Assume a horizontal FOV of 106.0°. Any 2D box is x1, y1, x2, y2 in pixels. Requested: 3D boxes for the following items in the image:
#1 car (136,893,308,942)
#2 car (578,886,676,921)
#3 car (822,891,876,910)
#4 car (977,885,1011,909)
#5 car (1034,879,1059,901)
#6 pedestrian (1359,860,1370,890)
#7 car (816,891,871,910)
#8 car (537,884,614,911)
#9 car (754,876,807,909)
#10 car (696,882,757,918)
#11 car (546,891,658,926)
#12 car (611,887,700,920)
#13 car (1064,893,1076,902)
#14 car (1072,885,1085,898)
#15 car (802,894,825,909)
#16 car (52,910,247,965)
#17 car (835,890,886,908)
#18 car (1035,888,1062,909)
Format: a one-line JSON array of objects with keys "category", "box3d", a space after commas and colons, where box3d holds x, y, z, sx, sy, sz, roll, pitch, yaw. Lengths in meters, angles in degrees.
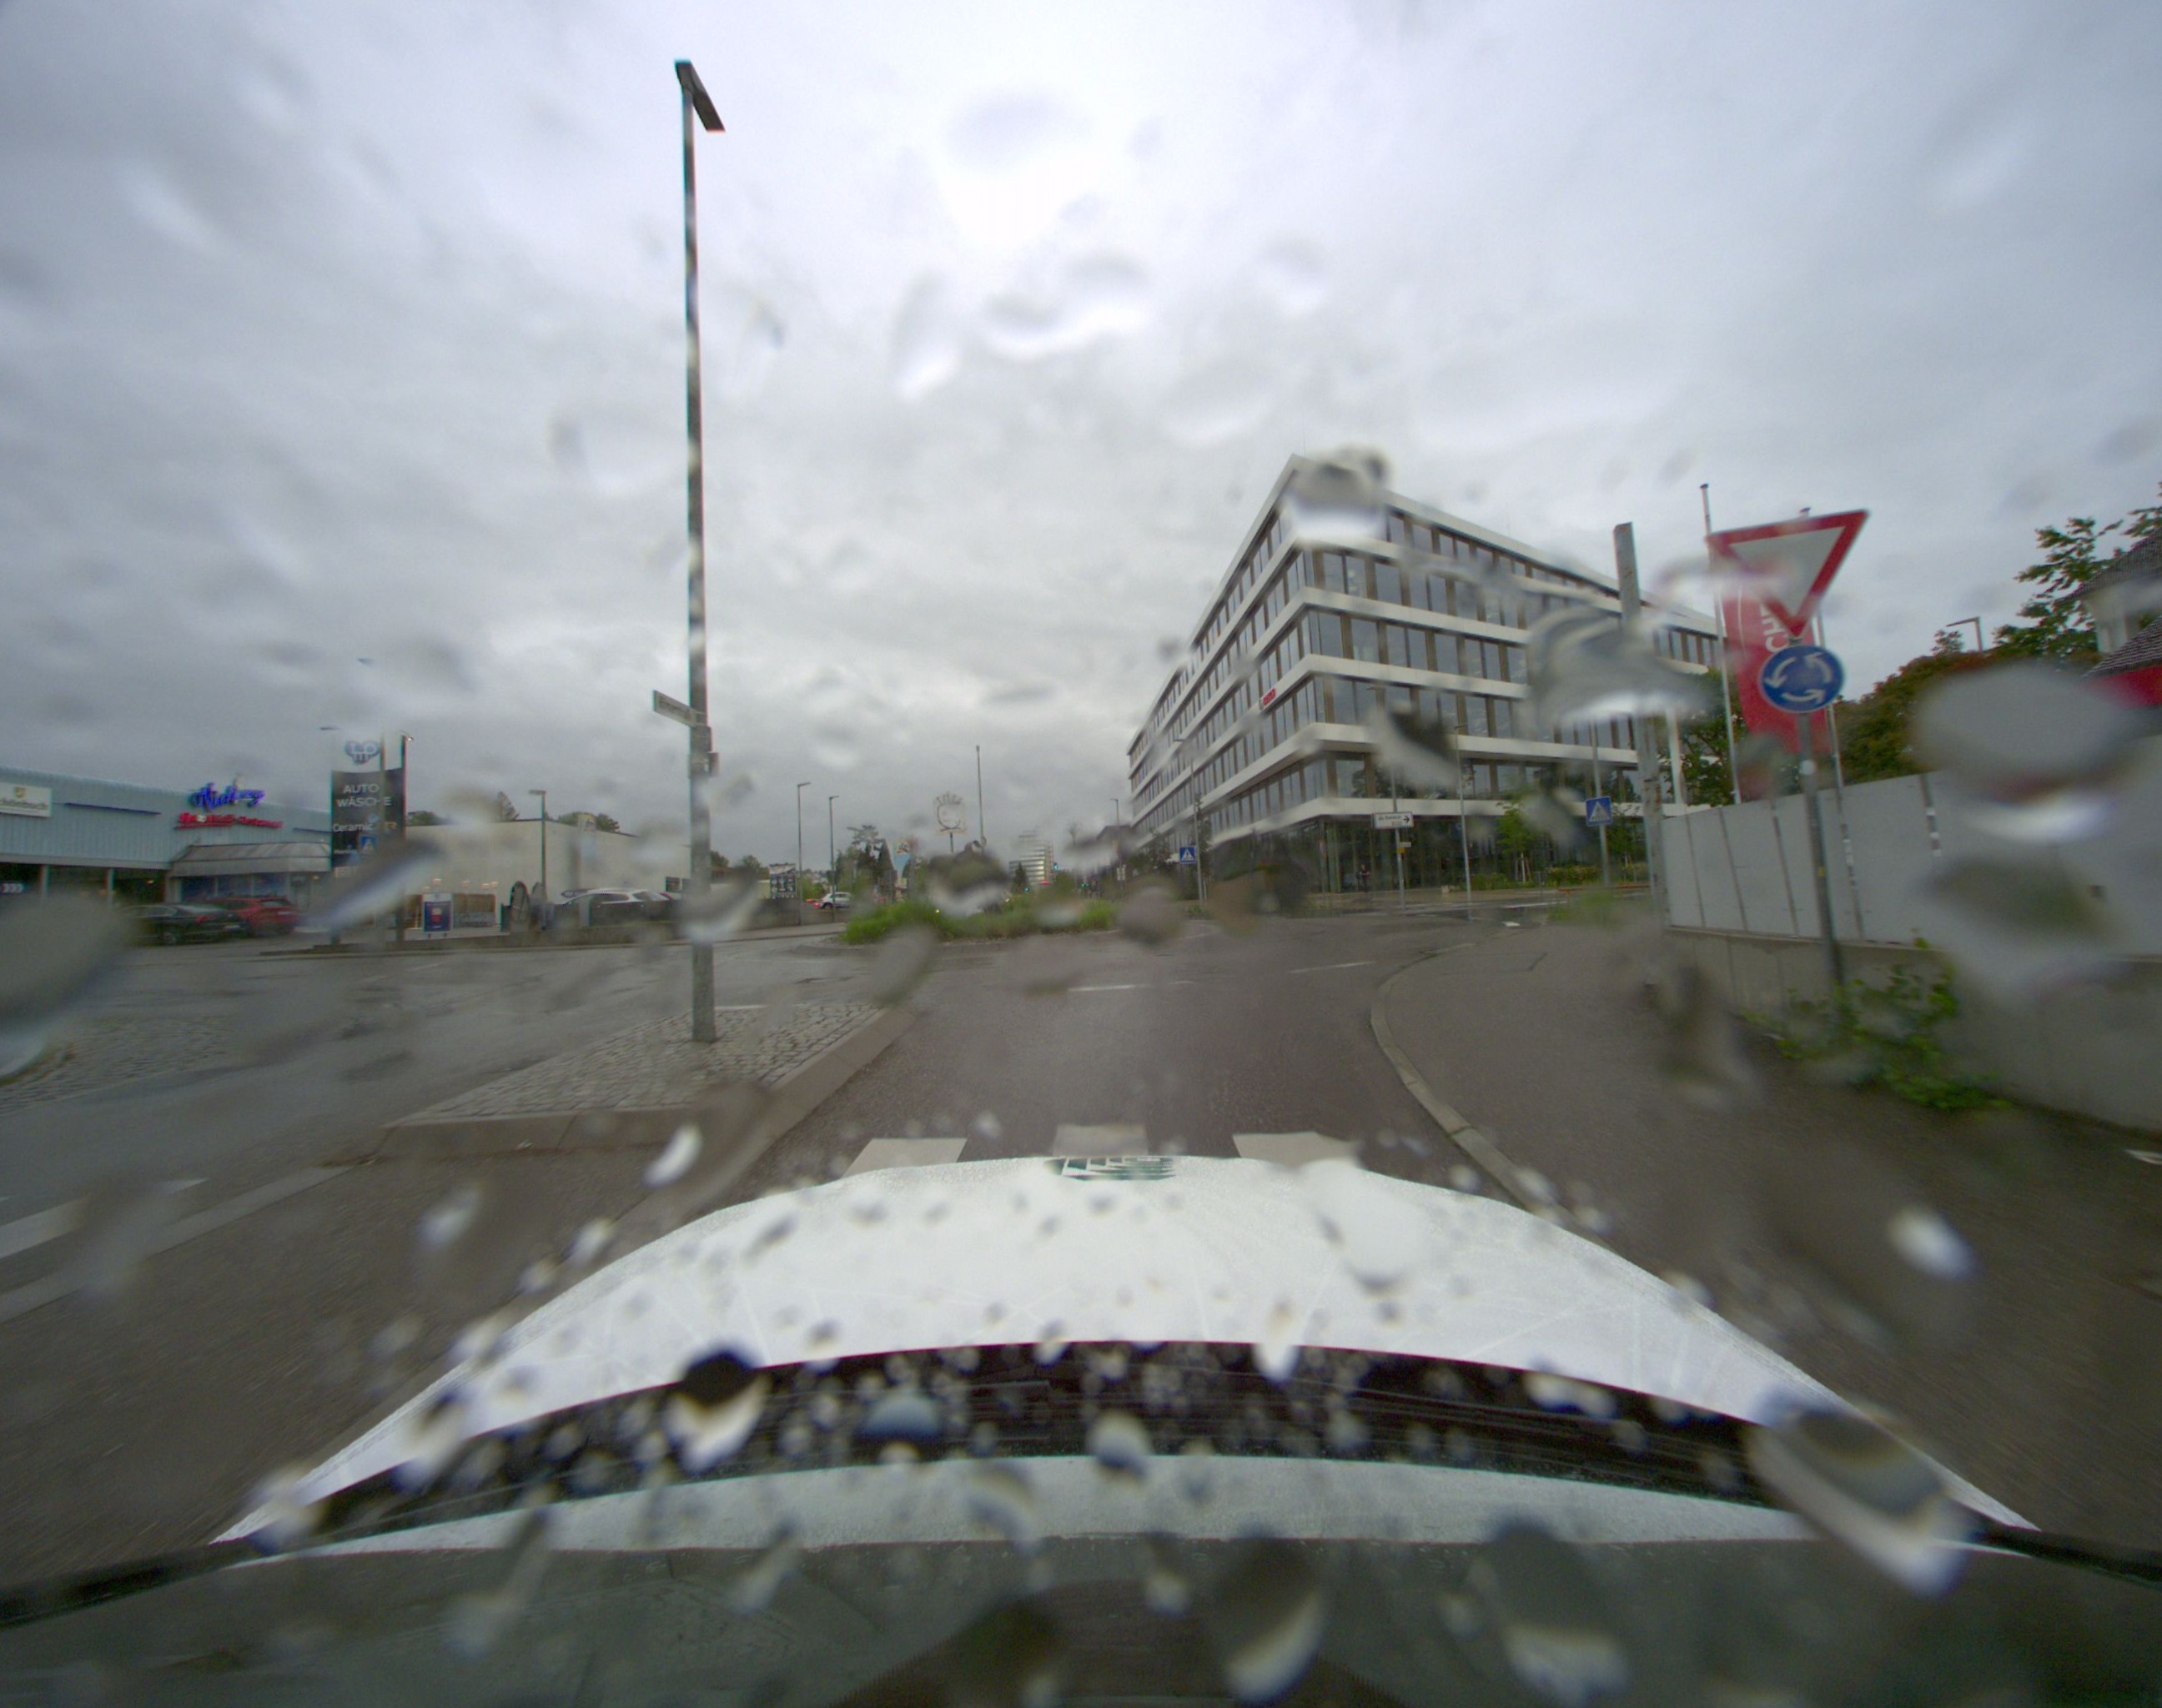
[{"category": "car", "box3d": [-32.483, 2.397, 30.943, 3.989, 1.618, 1.991, -1, -4, -12]}, {"category": "car", "box3d": [-20.425, 2.246, 36.729, 3.523, 1.420, 1.427, -2, -4, -4]}, {"category": "car", "box3d": [-19.538, 3.924, 68.638, 4.014, 1.420, 1.765, -2, -4, -4]}, {"category": "car", "box3d": [-5.373, 2.676, 50.515, 1.589, 1.410, 3.500, -2, -4, 2]}, {"category": "car", "box3d": [-3.211, 3.368, 76.322, 1.986, 1.903, 4.000, -2, -4, 2]}, {"category": "pedestrian", "box3d": [18.162, 1.360, 52.143, 0.589, 1.844, 0.456, -3, -4, 20]}, {"category": "car", "box3d": [-19.378, 3.794, 66.634, 4.014, 1.420, 1.765, -2, -4, -4]}, {"category": "car", "box3d": [-29.570, 2.543, 47.696, 3.523, 1.420, 1.427, -2, -4, -4]}, {"category": "car", "box3d": [-20.502, 2.592, 55.812, 1.989, 2.013, 4.994, -2, 0, -3]}, {"category": "car", "box3d": [-22.595, 2.891, 52.101, 1.990, 2.013, 4.992, -2, 0, -4]}, {"category": "car", "box3d": [-20.069, 2.283, 34.249, 3.523, 1.286, 1.997, -2, -4, -4]}, {"category": "car", "box3d": [-20.513, 2.410, 39.328, 3.523, 1.420, 1.427, -2, -4, -4]}, {"category": "car", "box3d": [-1.758, 7.246, 135.010, 1.787, 1.410, 4.216, -2, -4, 2]}, {"category": "car", "box3d": [-0.373, 6.698, 144.718, 1.986, 2.013, 5.002, -2, 0, 2]}, {"category": "car", "box3d": [-24.701, 4.406, 75.264, 1.293, 1.197, 2.702, -2, 0, -3]}, {"category": "car", "box3d": [-31.860, 2.834, 28.000, 3.986, 1.618, 1.993, -2, -4, -9]}, {"category": "car", "box3d": [-19.150, 3.950, 70.911, 4.014, 1.420, 1.765, -2, -4, -4]}, {"category": "car", "box3d": [-2.309, 3.199, 58.535, 1.789, 1.410, 3.418, -2, -4, -1]}]
